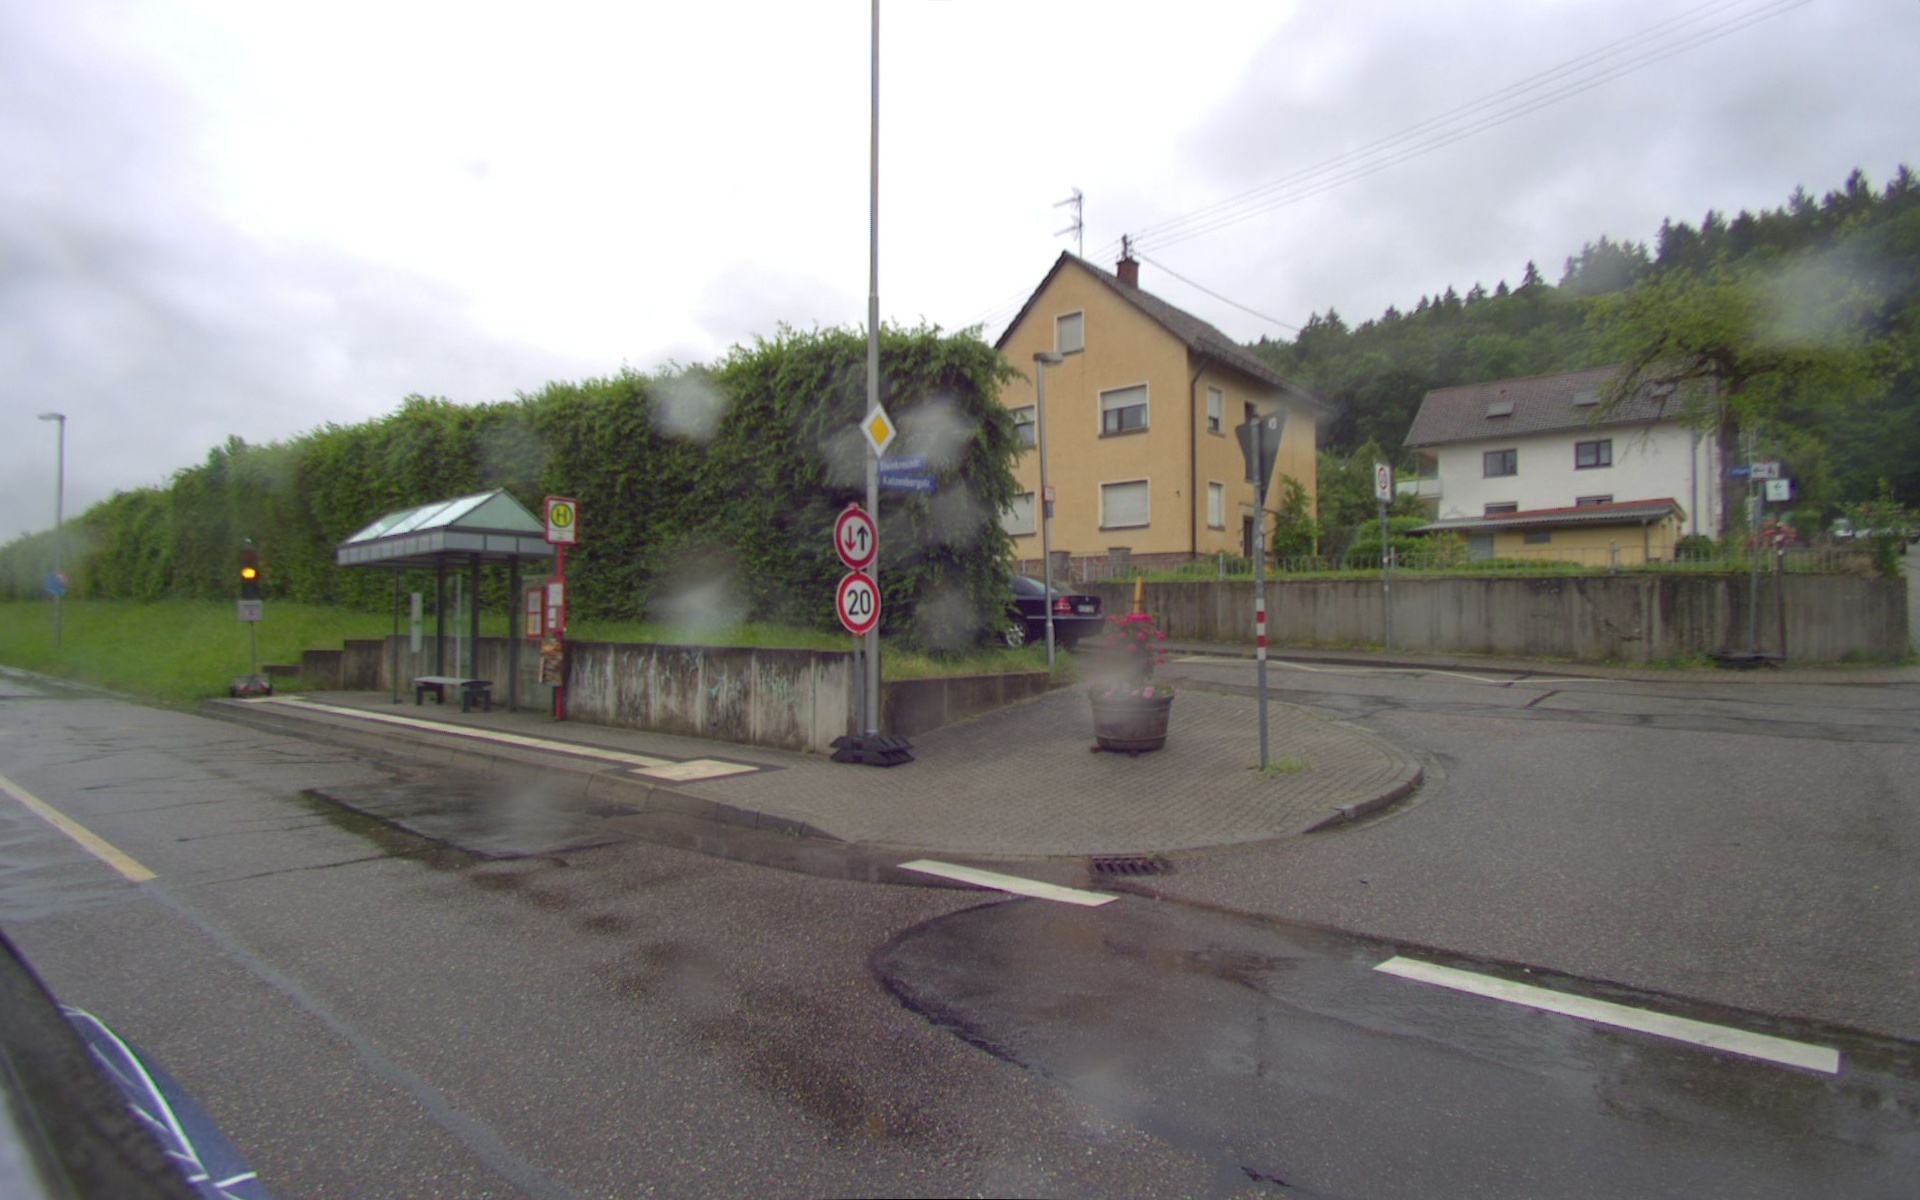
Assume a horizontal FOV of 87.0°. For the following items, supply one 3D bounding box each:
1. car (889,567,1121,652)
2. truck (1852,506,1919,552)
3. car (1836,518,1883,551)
[{"bbox_3d":[0.765,0.124,19.195,4.220,1.399,1.727,2,1,40],"label":"car"},{"bbox_3d":[47.983,-3.607,52.533,2.298,2.142,6.000,-1,1,40],"label":"truck"},{"bbox_3d":[57.889,-4.188,65.158,1.913,2.028,3.951,0,2,37],"label":"car"}]
